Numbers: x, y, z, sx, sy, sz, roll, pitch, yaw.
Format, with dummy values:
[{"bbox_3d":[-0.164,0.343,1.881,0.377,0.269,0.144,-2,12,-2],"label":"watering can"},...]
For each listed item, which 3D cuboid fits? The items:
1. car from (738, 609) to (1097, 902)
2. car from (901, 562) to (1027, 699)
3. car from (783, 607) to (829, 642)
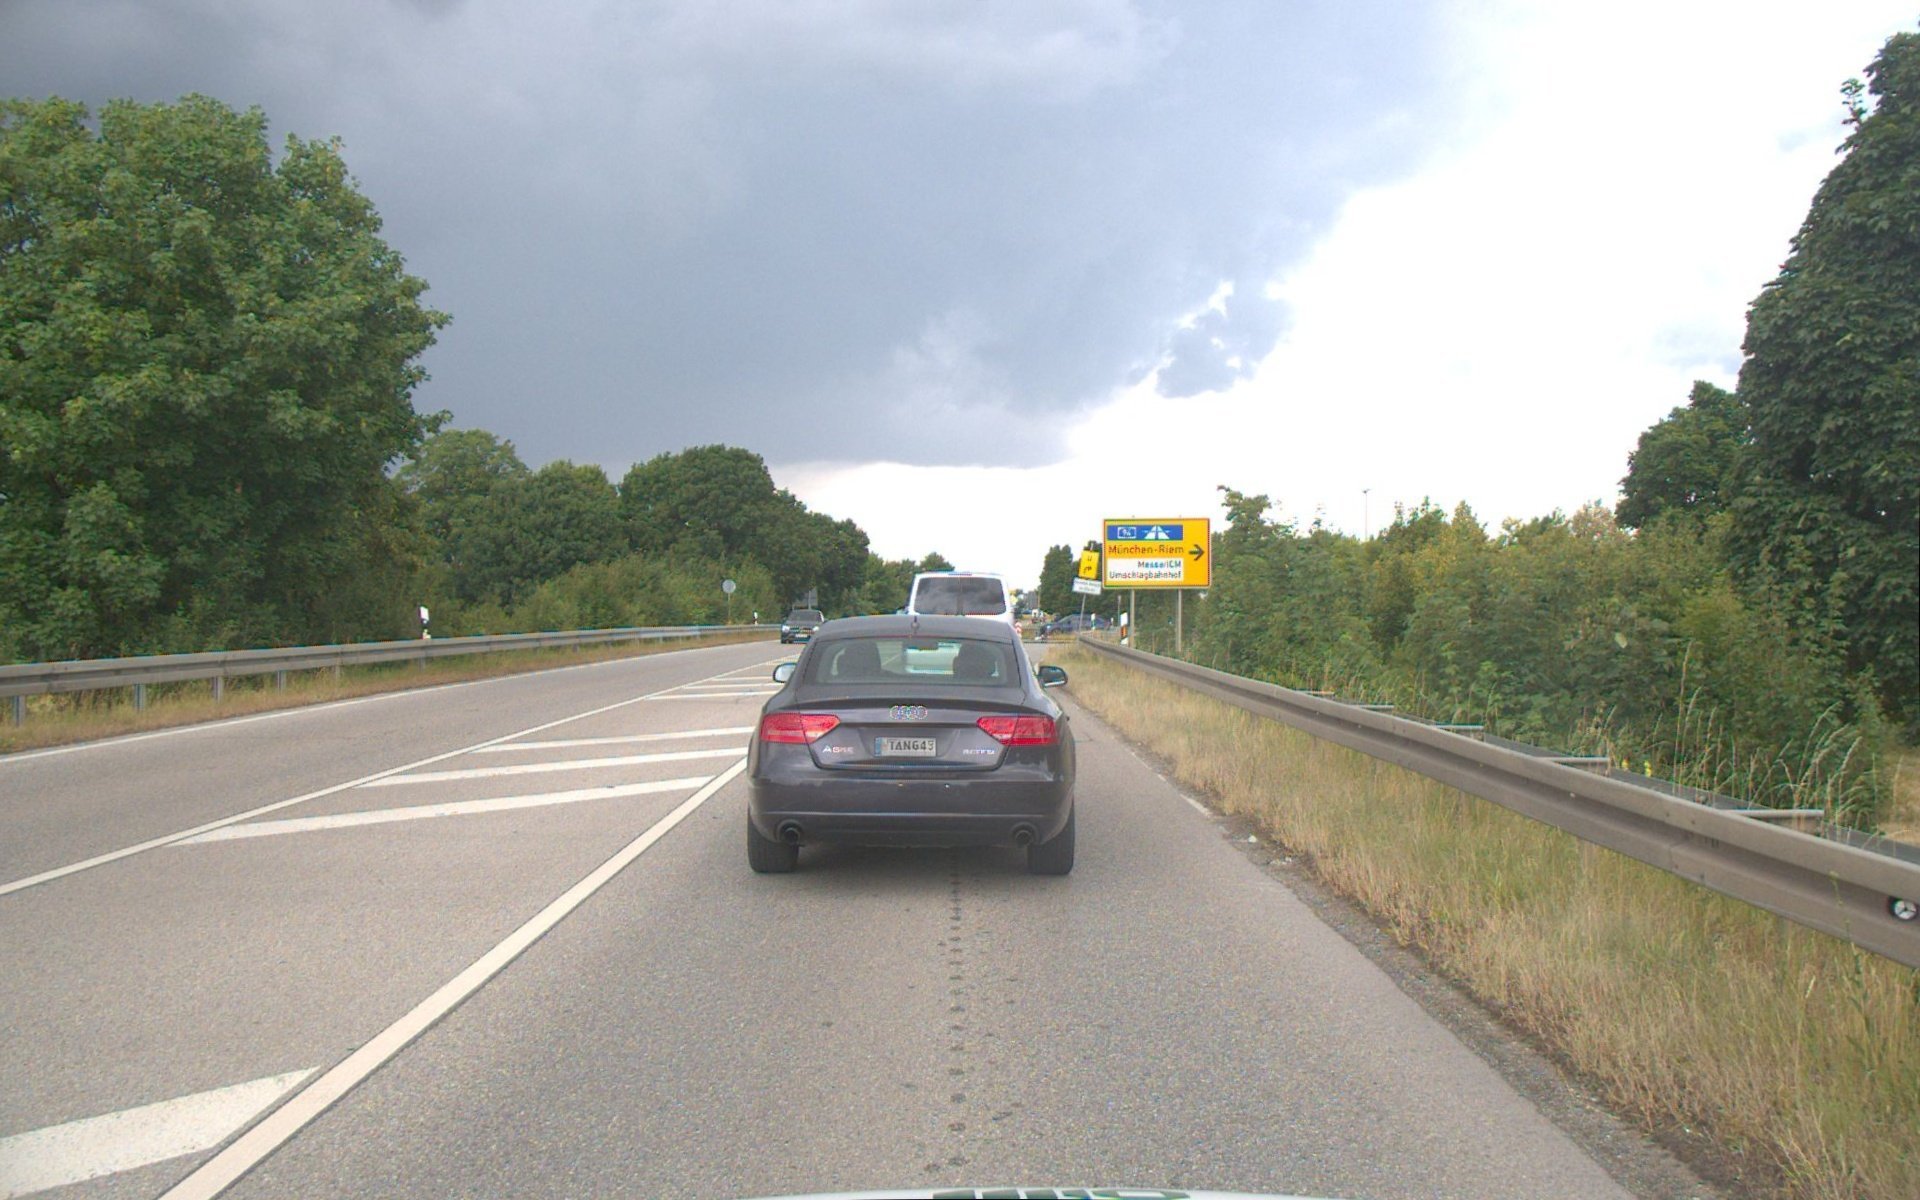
[{"bbox_3d":[-0.231,0.775,9.771,1.743,1.423,3.335,1,-1,-1],"label":"car"},{"bbox_3d":[0.043,0.461,27.108,1.871,2.049,3.999,1,0,-1],"label":"car"},{"bbox_3d":[-6.527,1.022,70.461,1.589,1.403,4.511,0,0,-1],"label":"car"}]
